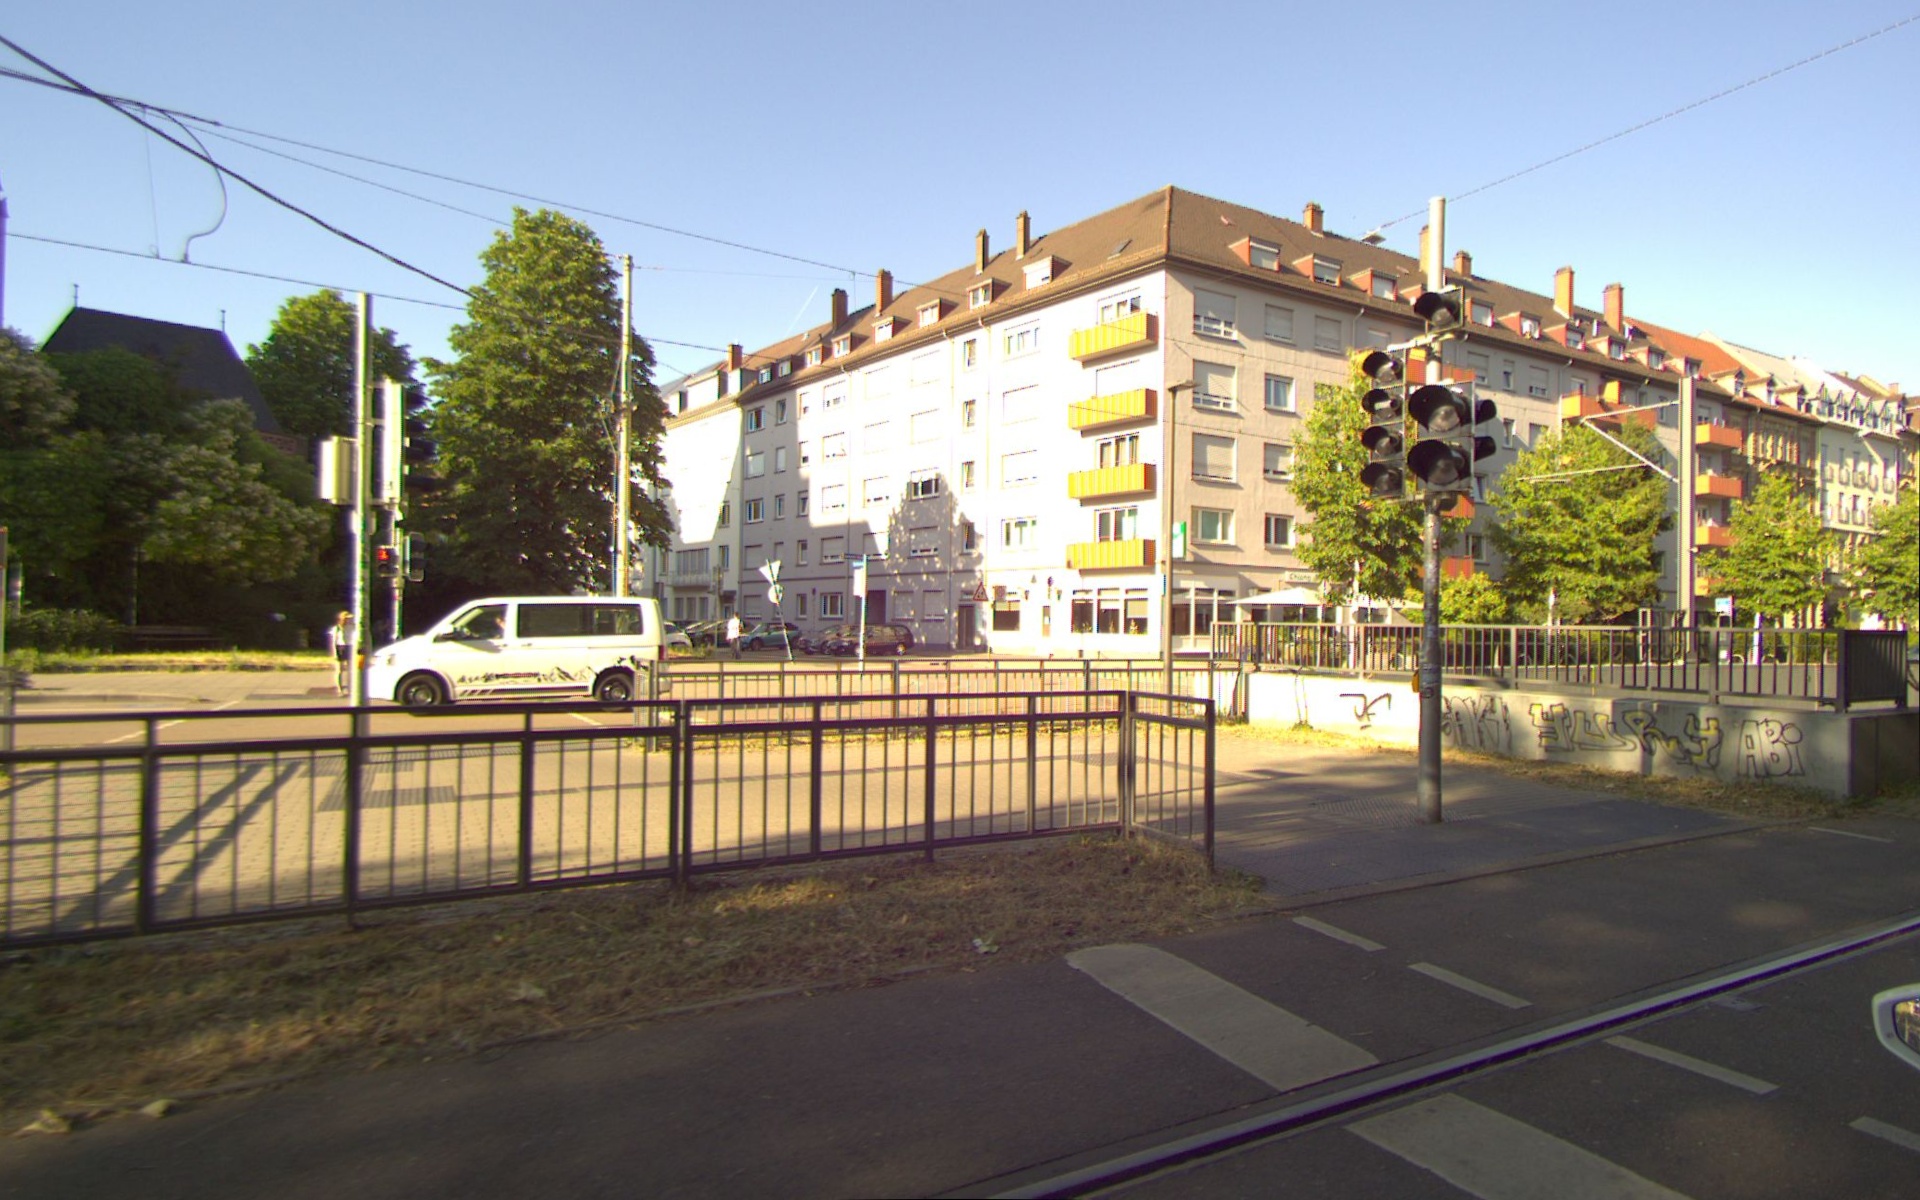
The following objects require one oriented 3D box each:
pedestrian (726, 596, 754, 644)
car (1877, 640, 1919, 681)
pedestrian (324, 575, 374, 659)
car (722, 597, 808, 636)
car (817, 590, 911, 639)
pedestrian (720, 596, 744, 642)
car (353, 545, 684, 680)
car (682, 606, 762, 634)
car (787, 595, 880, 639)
[{"bbox_3d":[-7.438,0.670,33.947,0.719,1.577,0.654,2,1,-29],"label":"pedestrian"},{"bbox_3d":[39.505,2.485,40.925,4.358,1.524,1.960,2,1,-31],"label":"car"},{"bbox_3d":[-12.703,0.347,20.881,0.750,1.695,0.488,2,2,-44],"label":"pedestrian"},{"bbox_3d":[-10.245,0.895,52.980,3.970,1.884,1.976,2,1,-41],"label":"car"},{"bbox_3d":[-4.371,0.686,46.189,3.952,2.040,1.802,2,1,-41],"label":"car"},{"bbox_3d":[-8.487,0.690,37.403,0.712,1.677,0.508,2,0,-30],"label":"pedestrian"},{"bbox_3d":[-7.472,0.307,17.527,4.936,2.040,1.991,3,-3,-20],"label":"car"},{"bbox_3d":[-13.643,1.143,57.730,3.970,1.439,1.976,2,1,-41],"label":"car"},{"bbox_3d":[-6.017,0.820,48.009,3.970,1.884,1.976,2,1,-41],"label":"car"}]
